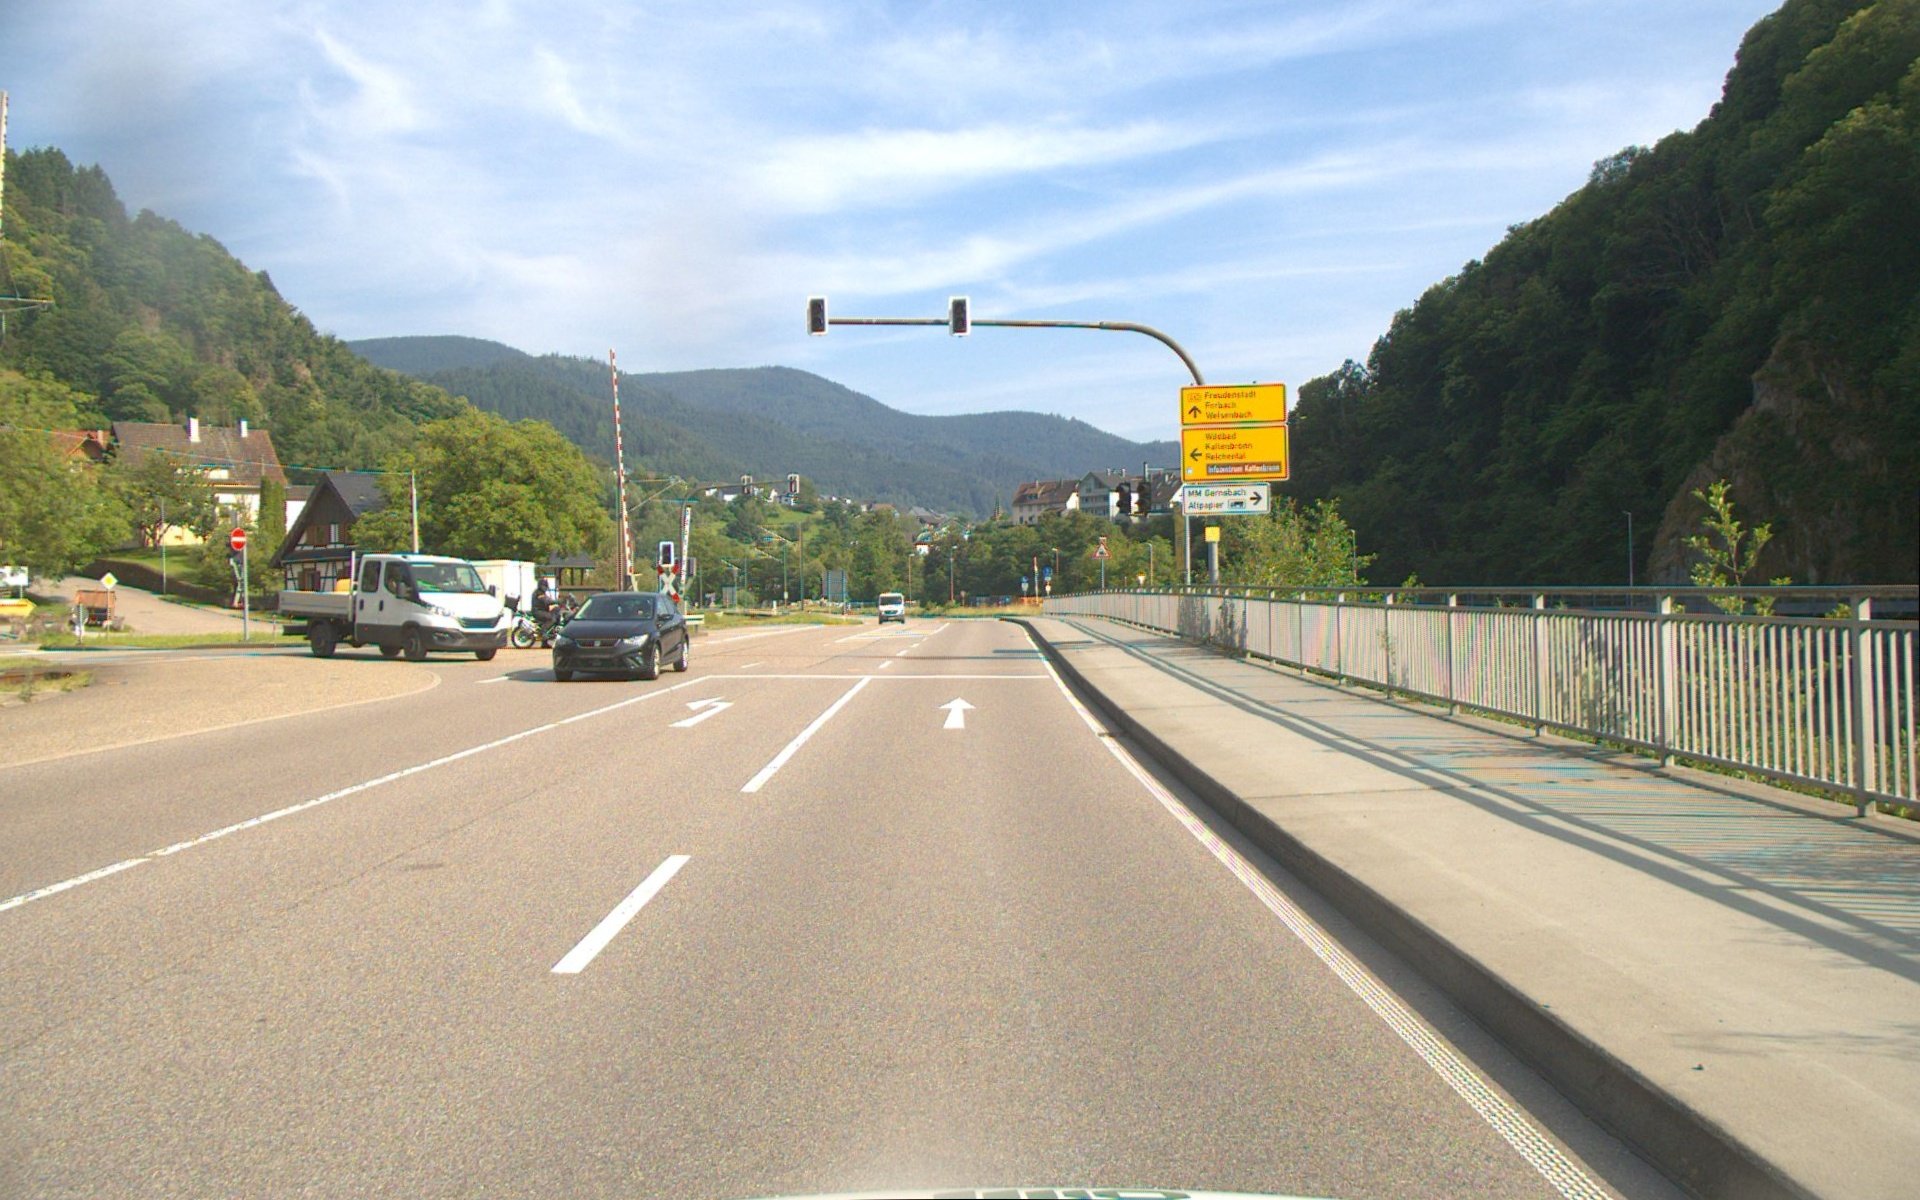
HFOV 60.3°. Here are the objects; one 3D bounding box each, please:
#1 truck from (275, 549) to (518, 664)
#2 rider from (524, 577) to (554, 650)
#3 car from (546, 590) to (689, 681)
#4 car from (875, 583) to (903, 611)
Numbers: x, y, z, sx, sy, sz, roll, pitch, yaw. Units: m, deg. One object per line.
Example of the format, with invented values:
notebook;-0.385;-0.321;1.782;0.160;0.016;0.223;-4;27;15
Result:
truck;-12.288;0.141;35.877;5.882;2.306;1.993;0;0;36
rider;-10.893;0.345;42.771;0.740;1.851;0.740;1;1;-15
car;-5.862;0.566;28.711;1.737;1.441;3.785;0;1;-1
car;-5.360;-0.221;125.399;1.953;2.049;4.556;0;0;-1
